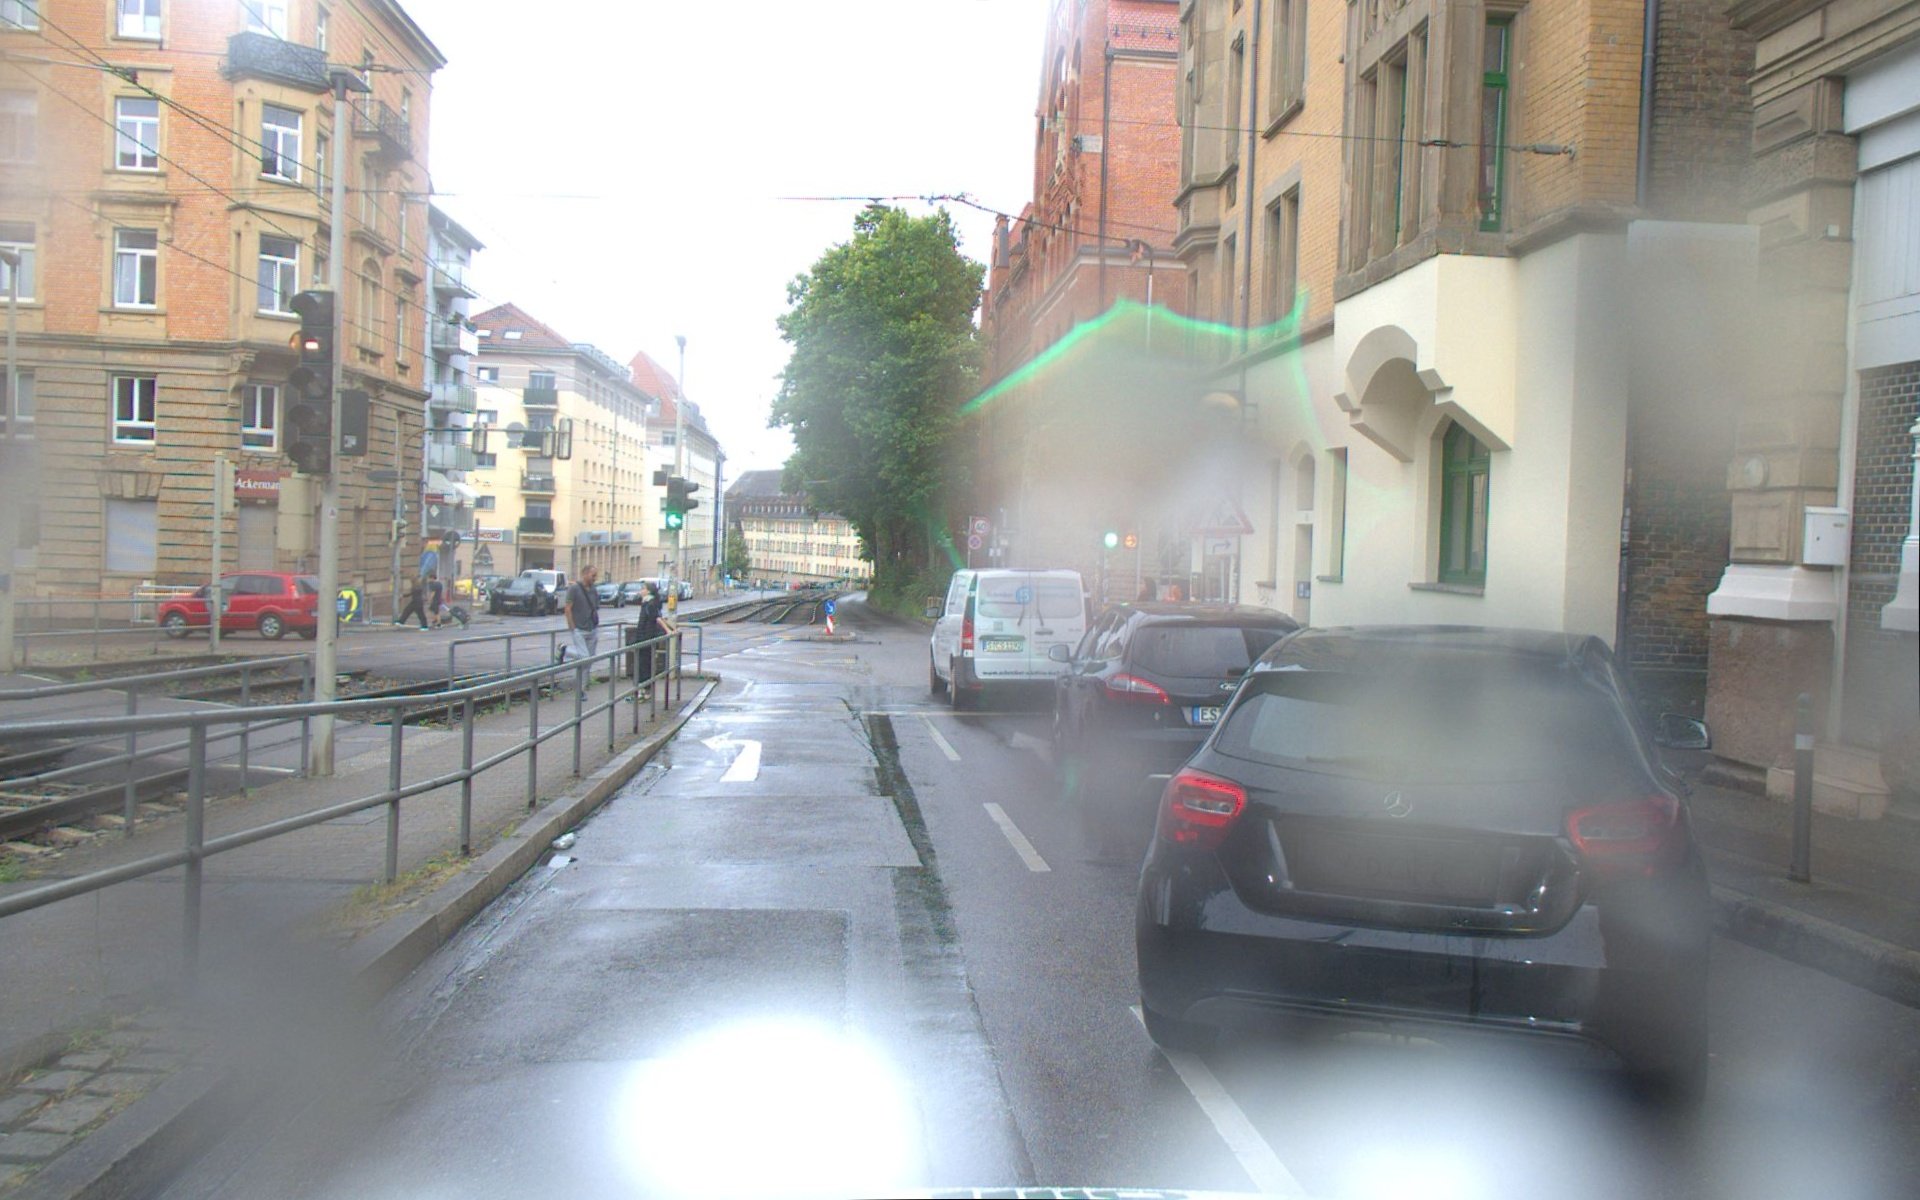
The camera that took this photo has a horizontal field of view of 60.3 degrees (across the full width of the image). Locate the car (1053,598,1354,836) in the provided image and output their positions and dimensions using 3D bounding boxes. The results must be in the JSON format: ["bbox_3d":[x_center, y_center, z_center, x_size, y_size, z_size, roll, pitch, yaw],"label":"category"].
[{"bbox_3d":[1.703,0.757,12.883,1.678,1.494,4.281,2,0,0],"label":"car"}]

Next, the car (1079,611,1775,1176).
[{"bbox_3d":[1.957,0.775,6.499,1.856,1.414,4.000,1,0,21],"label":"car"}]

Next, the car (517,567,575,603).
[{"bbox_3d":[-18.999,-0.687,76.103,1.751,1.557,4.459,2,0,-3],"label":"car"}]

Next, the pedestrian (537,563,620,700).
[{"bbox_3d":[-5.019,0.406,21.769,0.728,1.754,0.736,1,0,43],"label":"pedestrian"}]

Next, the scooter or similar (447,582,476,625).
[{"bbox_3d":[-15.290,0.106,50.707,0.822,1.293,0.323,1,1,-20],"label":"scooter or similar"}]

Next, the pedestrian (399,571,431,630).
[{"bbox_3d":[-16.006,0.014,48.616,0.664,1.690,0.676,1,0,2],"label":"pedestrian"}]

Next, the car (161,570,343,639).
[{"bbox_3d":[-16.498,0.097,38.615,3.524,1.515,1.687,1,0,10],"label":"car"}]

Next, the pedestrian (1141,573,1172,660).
[{"bbox_3d":[2.948,0.242,24.854,0.404,1.293,0.292,2,0,2],"label":"pedestrian"}]

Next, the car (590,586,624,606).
[{"bbox_3d":[-20.287,-0.229,95.216,1.408,1.126,3.159,2,0,-3],"label":"car"}]

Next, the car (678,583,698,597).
[{"bbox_3d":[-24.300,-0.882,147.837,1.367,1.191,3.159,2,0,-3],"label":"car"}]

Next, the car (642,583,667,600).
[{"bbox_3d":[-22.068,-0.638,119.690,1.367,1.191,3.159,2,0,-3],"label":"car"}]

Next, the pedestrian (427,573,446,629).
[{"bbox_3d":[-16.004,0.019,50.560,0.510,1.695,0.474,1,0,-19],"label":"pedestrian"}]

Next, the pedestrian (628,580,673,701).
[{"bbox_3d":[-4.070,0.529,21.743,0.522,1.557,0.435,2,0,-12],"label":"pedestrian"}]

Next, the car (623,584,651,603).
[{"bbox_3d":[-21.188,-0.423,108.549,1.367,1.191,3.159,2,0,-3],"label":"car"}]

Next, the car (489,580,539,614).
[{"bbox_3d":[-18.751,-0.154,69.631,1.423,1.341,3.292,3,0,-5],"label":"car"}]

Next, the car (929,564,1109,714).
[{"bbox_3d":[0.721,0.482,23.343,1.896,1.863,4.275,2,0,-6],"label":"car"}]

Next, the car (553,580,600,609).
[{"bbox_3d":[-19.168,-0.266,82.756,1.647,1.379,3.700,2,0,-3],"label":"car"}]

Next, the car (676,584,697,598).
[{"bbox_3d":[-23.693,-0.798,143.382,1.367,1.191,3.159,2,0,-3],"label":"car"}]

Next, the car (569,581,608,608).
[{"bbox_3d":[-19.501,-0.285,86.814,1.470,1.379,3.159,2,0,-3],"label":"car"}]

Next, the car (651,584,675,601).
[{"bbox_3d":[-22.615,-0.570,125.971,1.367,1.191,3.159,2,0,-3],"label":"car"}]
